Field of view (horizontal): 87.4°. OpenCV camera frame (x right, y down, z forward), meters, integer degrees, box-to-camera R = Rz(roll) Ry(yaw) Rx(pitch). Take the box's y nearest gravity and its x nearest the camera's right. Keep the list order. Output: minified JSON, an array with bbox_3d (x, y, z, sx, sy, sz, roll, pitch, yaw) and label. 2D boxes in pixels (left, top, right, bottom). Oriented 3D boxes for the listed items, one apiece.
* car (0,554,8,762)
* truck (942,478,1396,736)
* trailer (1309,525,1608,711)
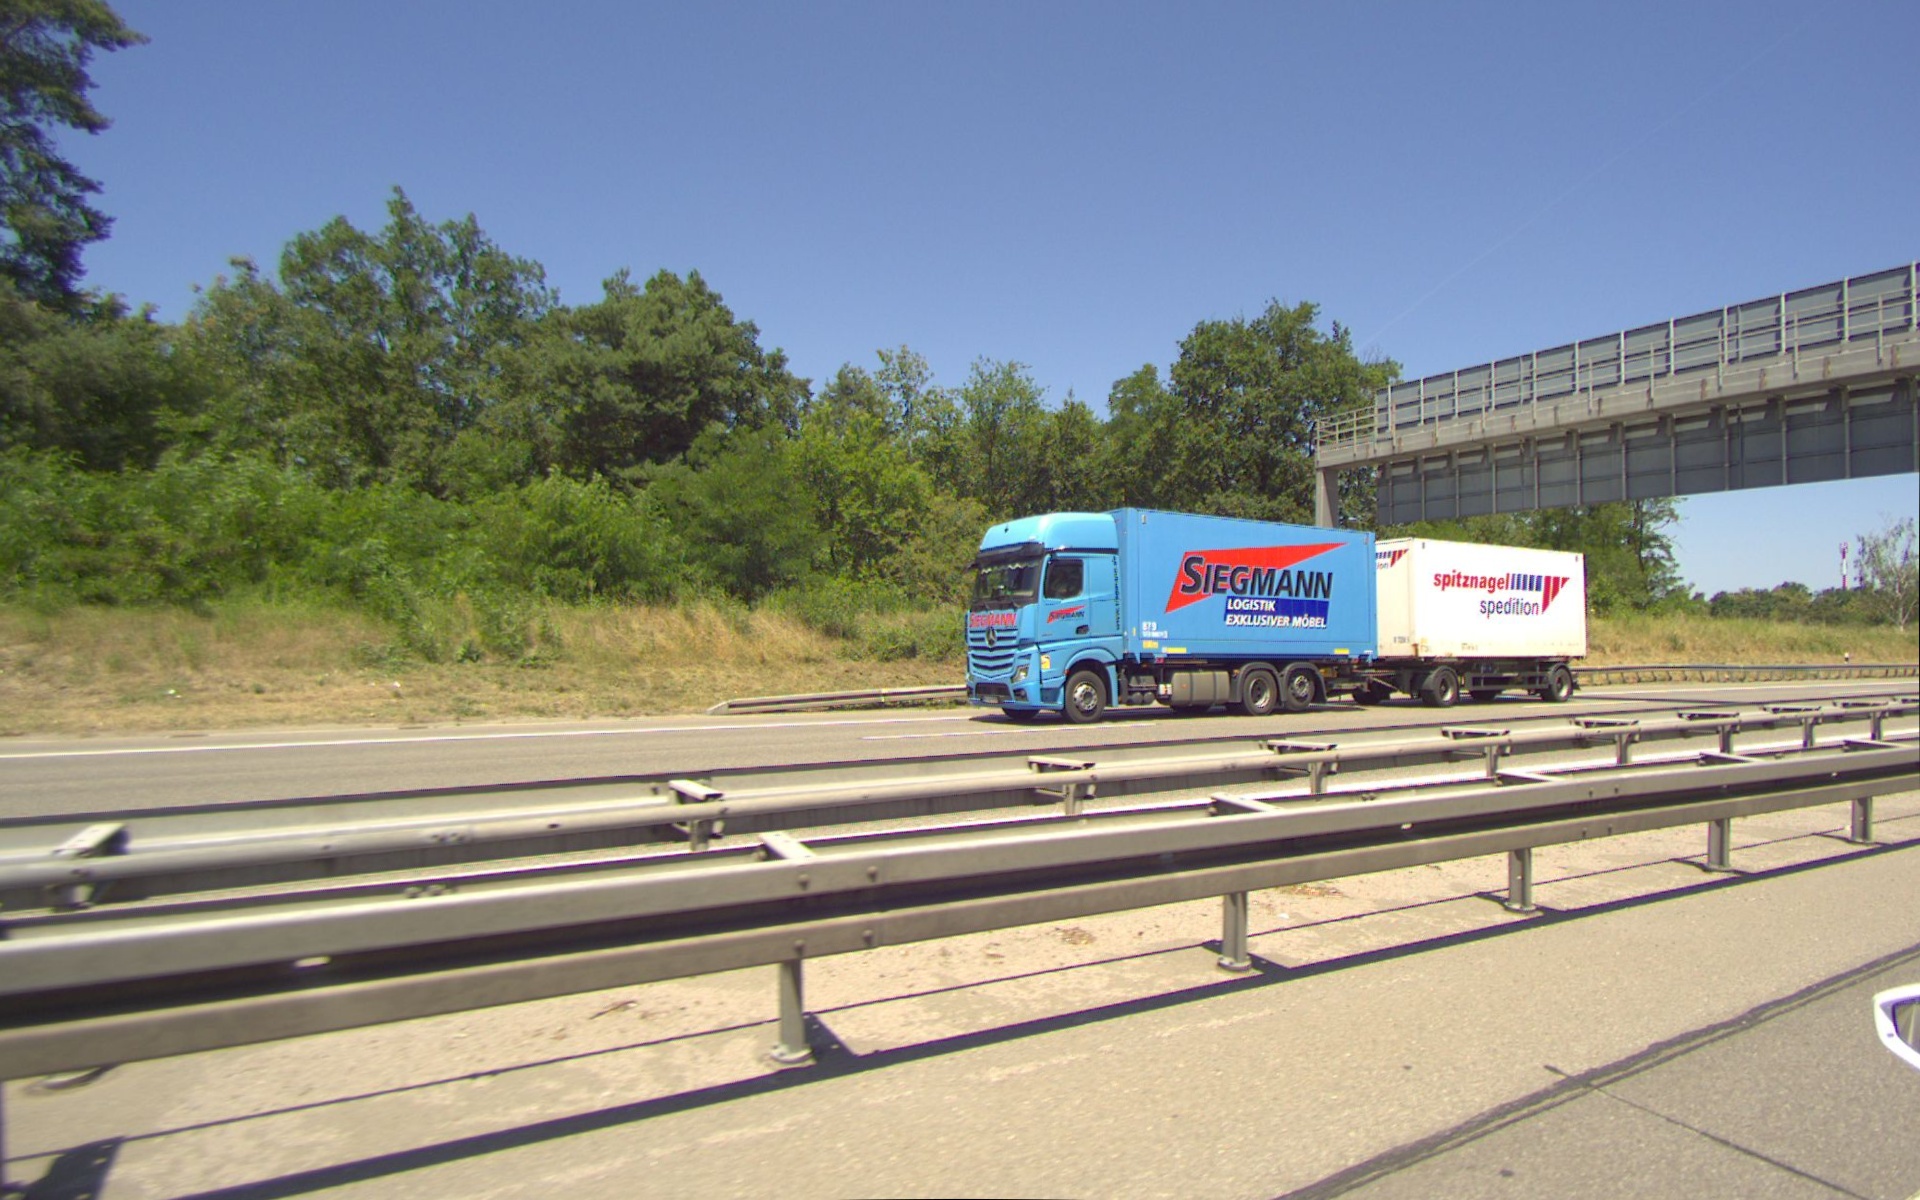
[{"bbox_3d":[-8.433,0.525,4.877,5.177,1.879,1.823,2,-3,-31],"label":"car"},{"bbox_3d":[4.836,0.287,21.862,10.336,4.618,3.044,2,-2,-30],"label":"truck"},{"bbox_3d":[13.524,0.558,27.017,8.534,4.339,3.044,2,-2,-30],"label":"trailer"}]
